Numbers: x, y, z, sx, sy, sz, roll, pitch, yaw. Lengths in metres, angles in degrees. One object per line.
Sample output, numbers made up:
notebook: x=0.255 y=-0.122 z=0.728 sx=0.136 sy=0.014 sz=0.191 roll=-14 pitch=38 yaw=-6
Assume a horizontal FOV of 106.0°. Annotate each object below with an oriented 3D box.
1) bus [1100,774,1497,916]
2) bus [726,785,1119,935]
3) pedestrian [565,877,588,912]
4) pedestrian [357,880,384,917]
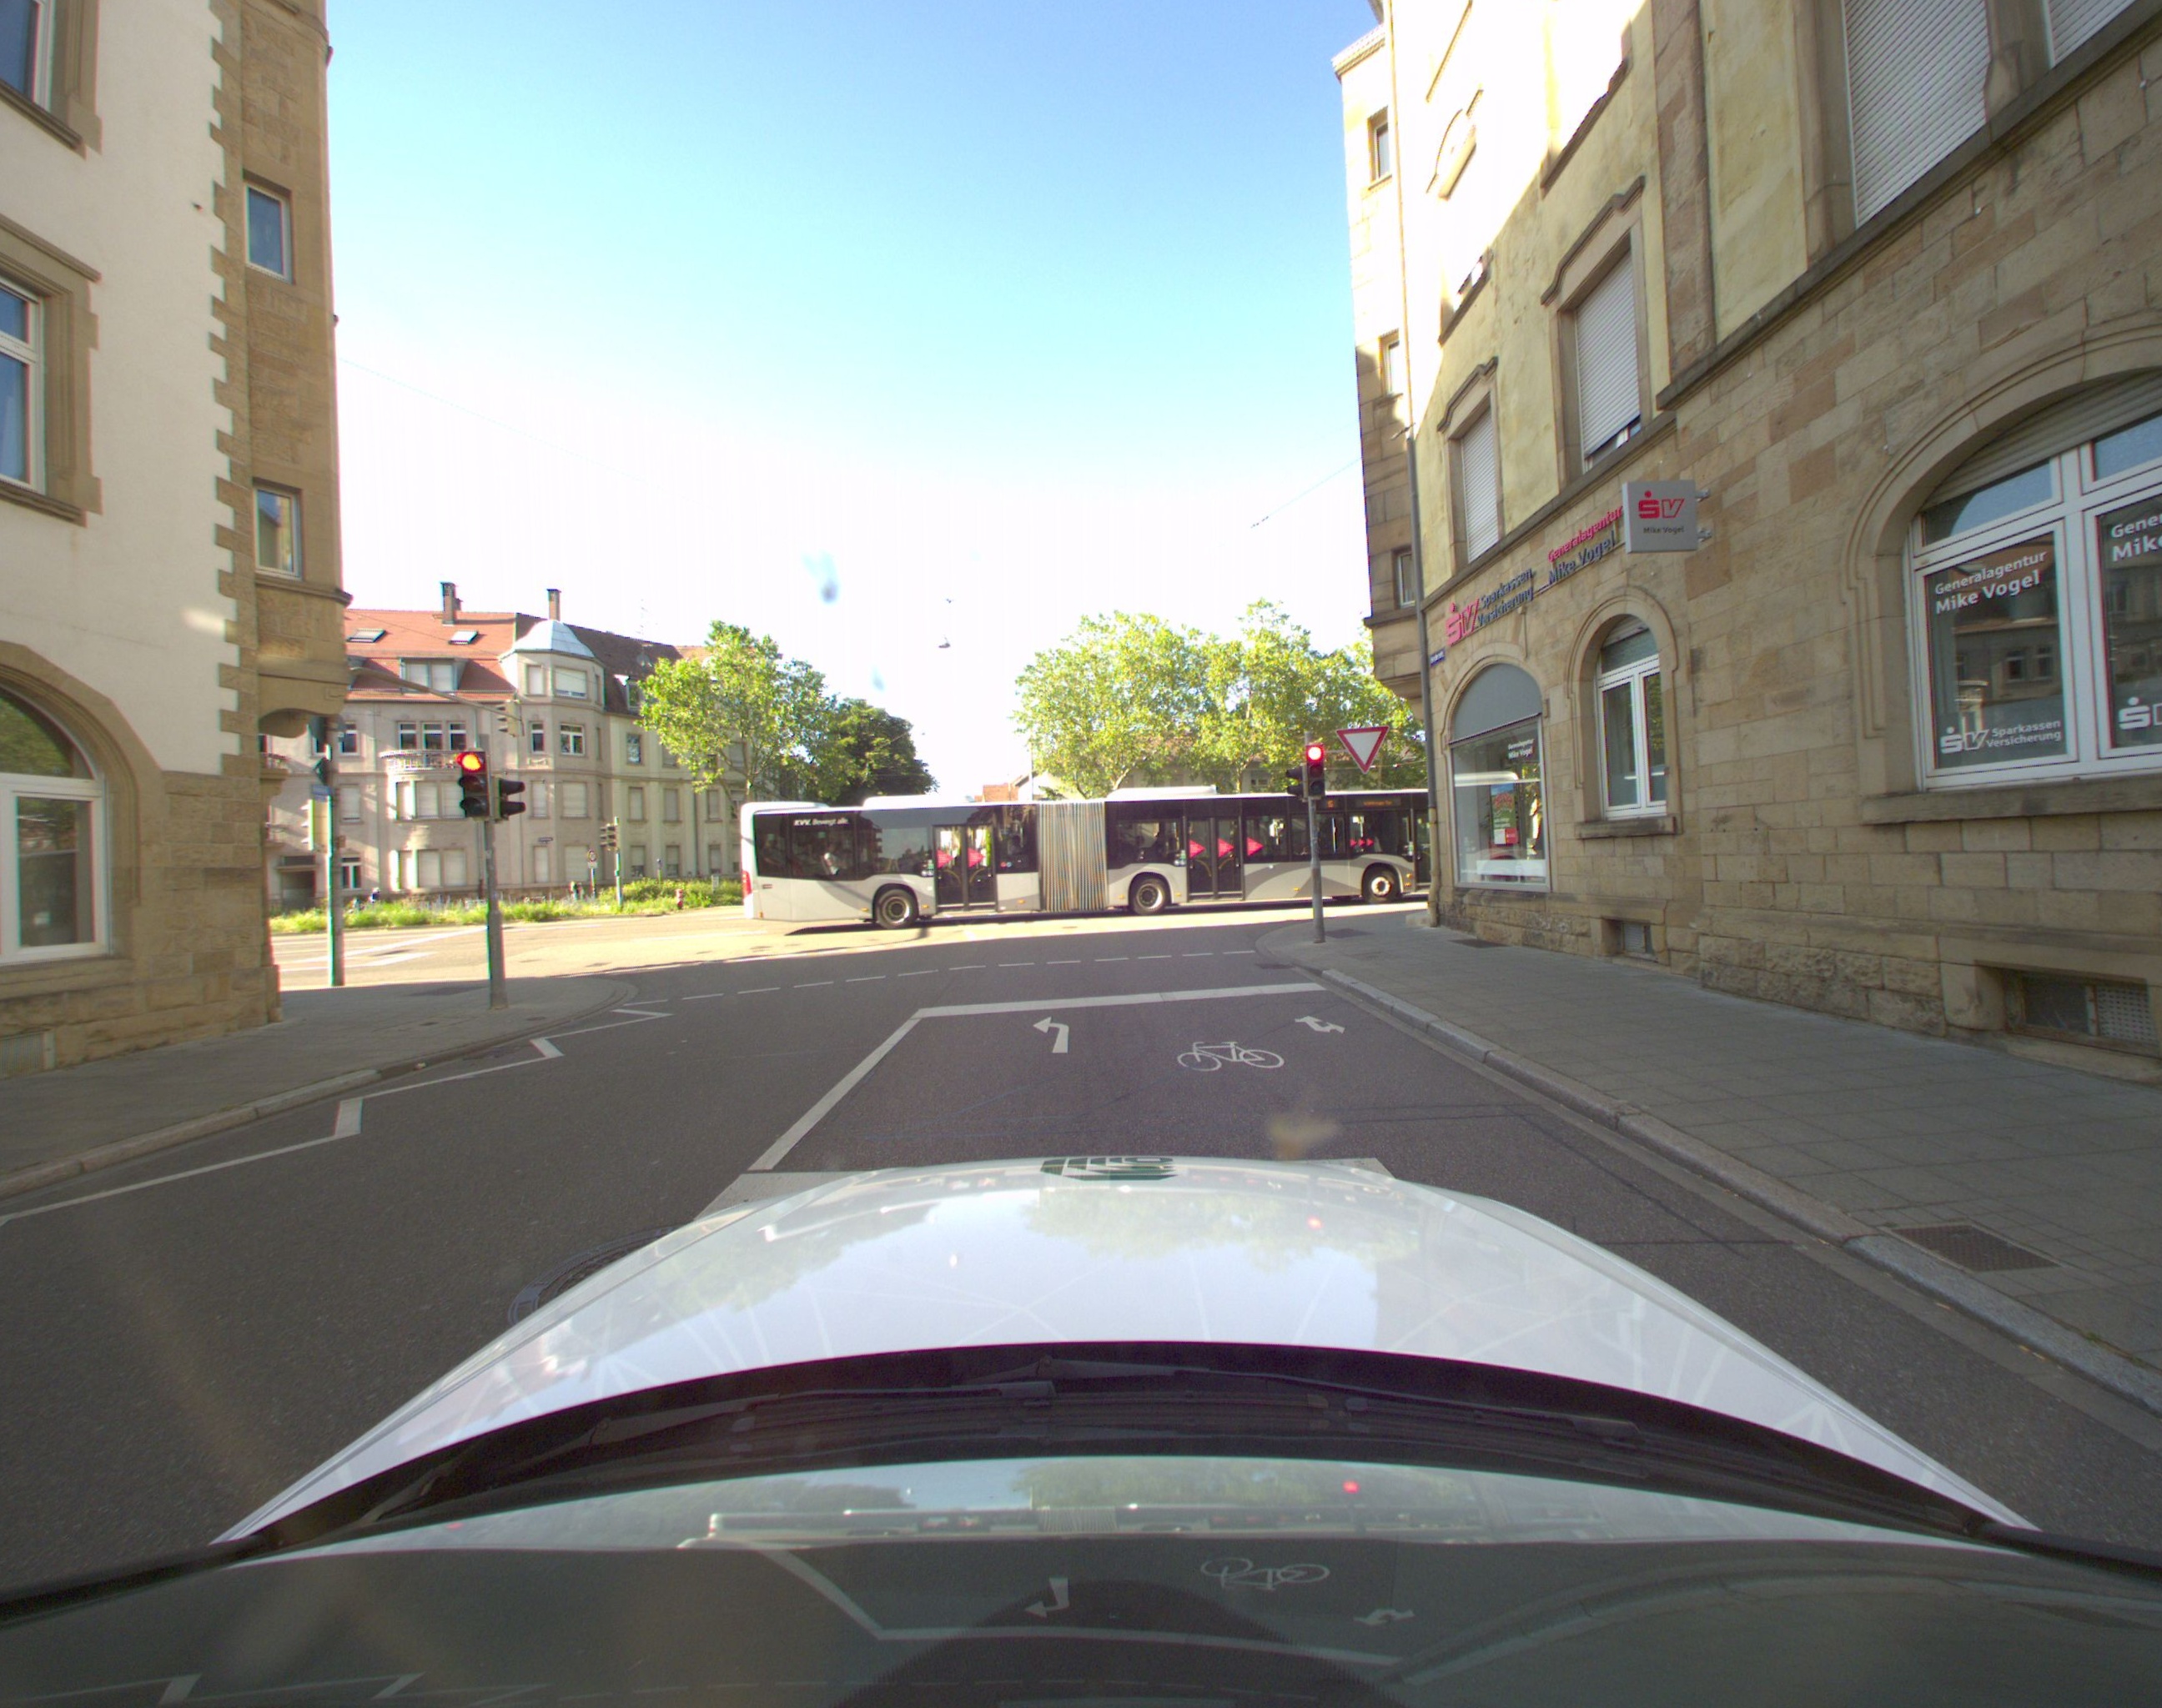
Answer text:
bus: x=5.470 y=-0.261 z=21.233 sx=9.610 sy=3.096 sz=2.739 roll=-2 pitch=0 yaw=-7
bus: x=-3.661 y=0.099 z=20.134 sx=8.814 sy=3.096 sz=2.739 roll=-2 pitch=0 yaw=-7
pedestrian: x=-27.724 y=2.224 z=44.744 sx=0.840 sy=1.851 sz=0.743 roll=-1 pitch=-1 yaw=30
pedestrian: x=-36.123 y=2.257 z=41.406 sx=0.738 sy=1.851 sz=0.846 roll=0 pitch=-1 yaw=-17
